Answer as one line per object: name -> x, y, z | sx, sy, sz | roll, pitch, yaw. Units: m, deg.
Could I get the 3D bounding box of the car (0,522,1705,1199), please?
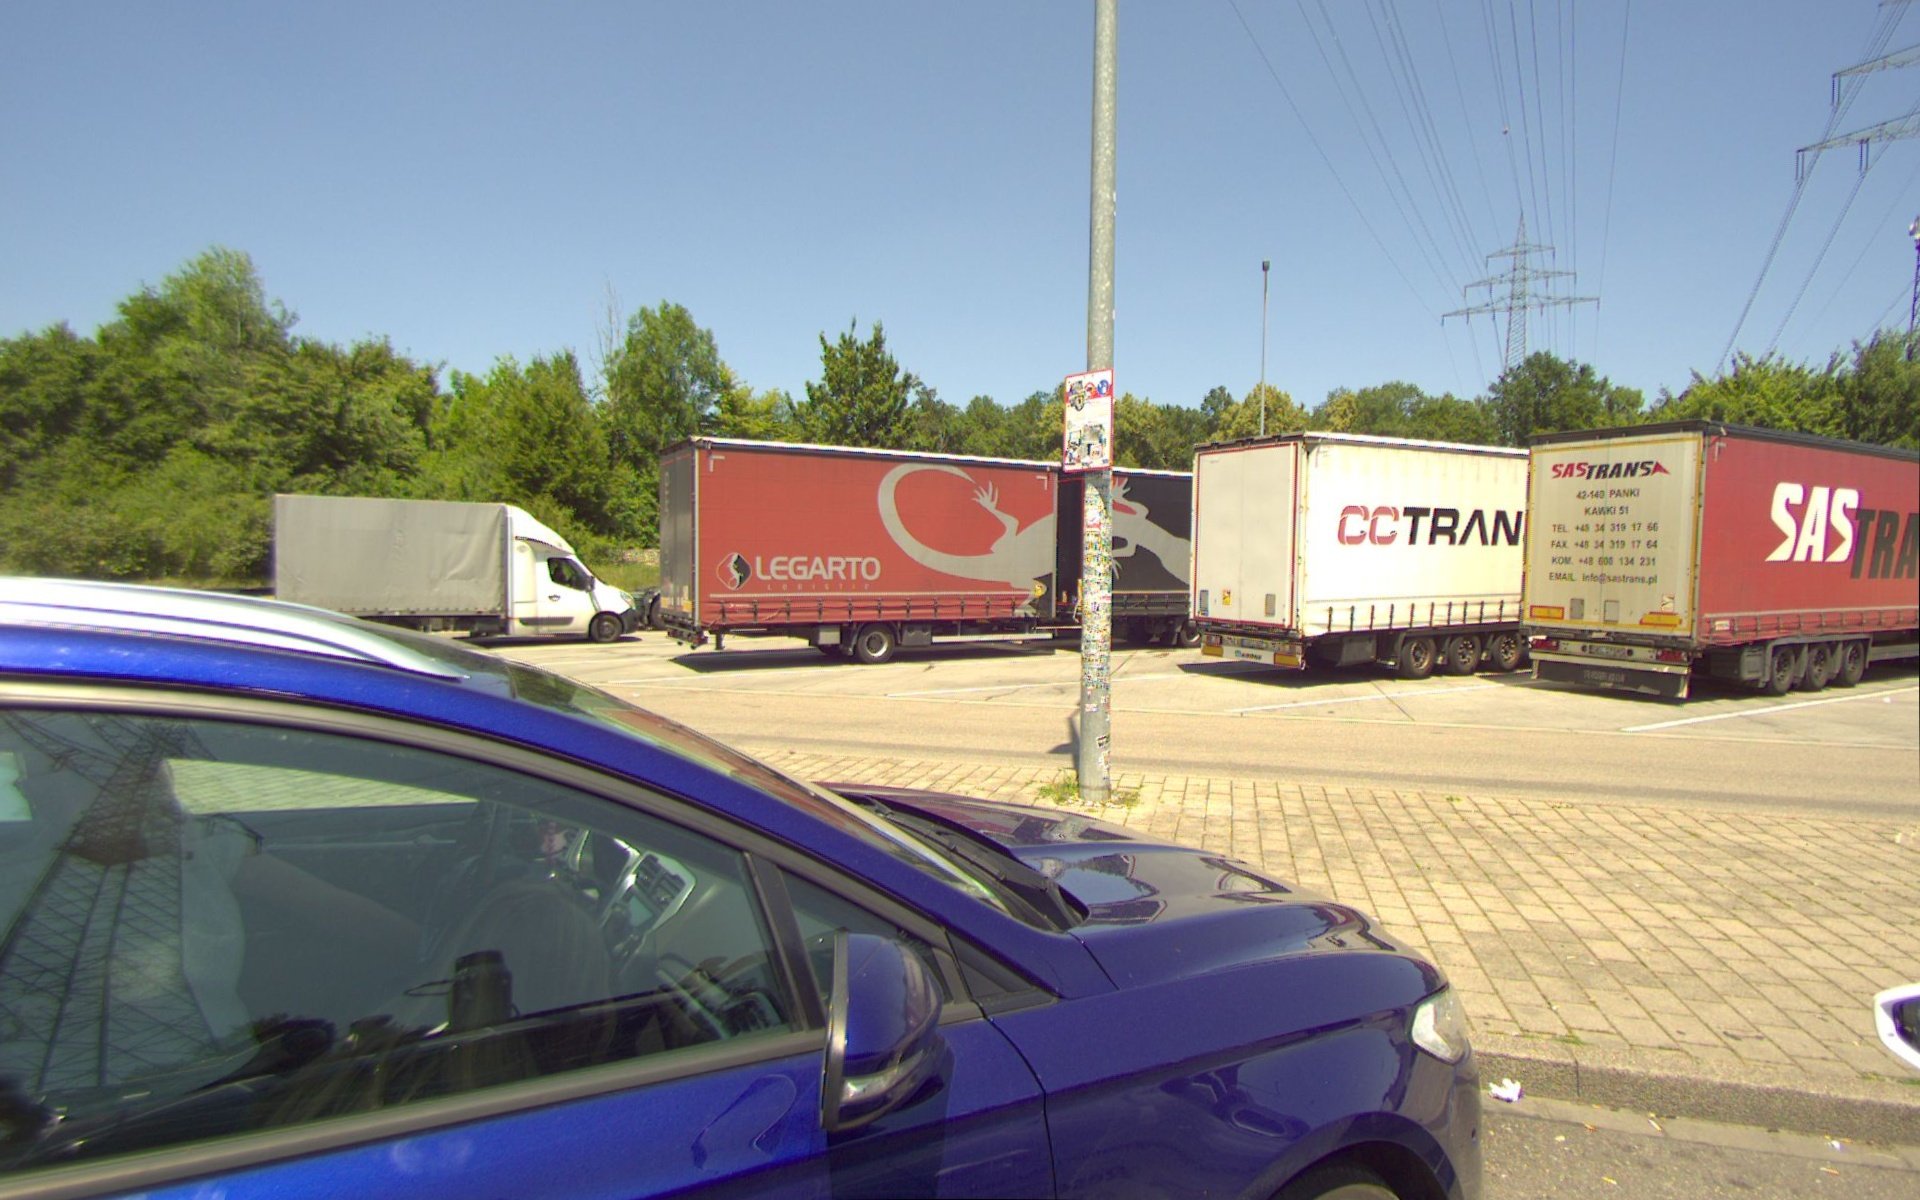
car -> -0.946, 0.663, 1.489 | 4.362, 1.437, 1.731 | 1, 0, -30

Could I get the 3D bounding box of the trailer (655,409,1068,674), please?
trailer -> -1.813, -0.978, 20.289 | 7.963, 4.510, 2.648 | 0, 0, -31

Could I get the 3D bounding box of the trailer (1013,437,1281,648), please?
trailer -> 4.534, -1.214, 24.075 | 6.076, 4.504, 2.665 | 0, 0, -30

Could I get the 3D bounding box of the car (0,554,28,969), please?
car -> -4.310, 0.525, 2.201 | 3.077, 1.378, 1.334 | 1, 0, -30

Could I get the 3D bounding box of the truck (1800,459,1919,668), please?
truck -> 21.462, -0.725, 22.071 | 5.824, 4.189, 2.792 | 0, 0, -30

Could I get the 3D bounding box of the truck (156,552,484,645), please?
truck -> -15.336, -0.020, 24.590 | 6.538, 2.040, 1.984 | 0, 0, -31

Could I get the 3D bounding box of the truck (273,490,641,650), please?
truck -> -11.131, -0.582, 22.771 | 7.171, 3.194, 2.160 | 0, 1, -30

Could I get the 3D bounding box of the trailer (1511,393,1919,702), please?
trailer -> 15.279, -0.698, 18.436 | 13.046, 4.276, 2.786 | 0, 0, -31

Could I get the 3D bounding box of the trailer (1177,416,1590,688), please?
trailer -> 8.113, -0.753, 18.827 | 8.189, 4.208, 2.741 | 0, 1, -30
